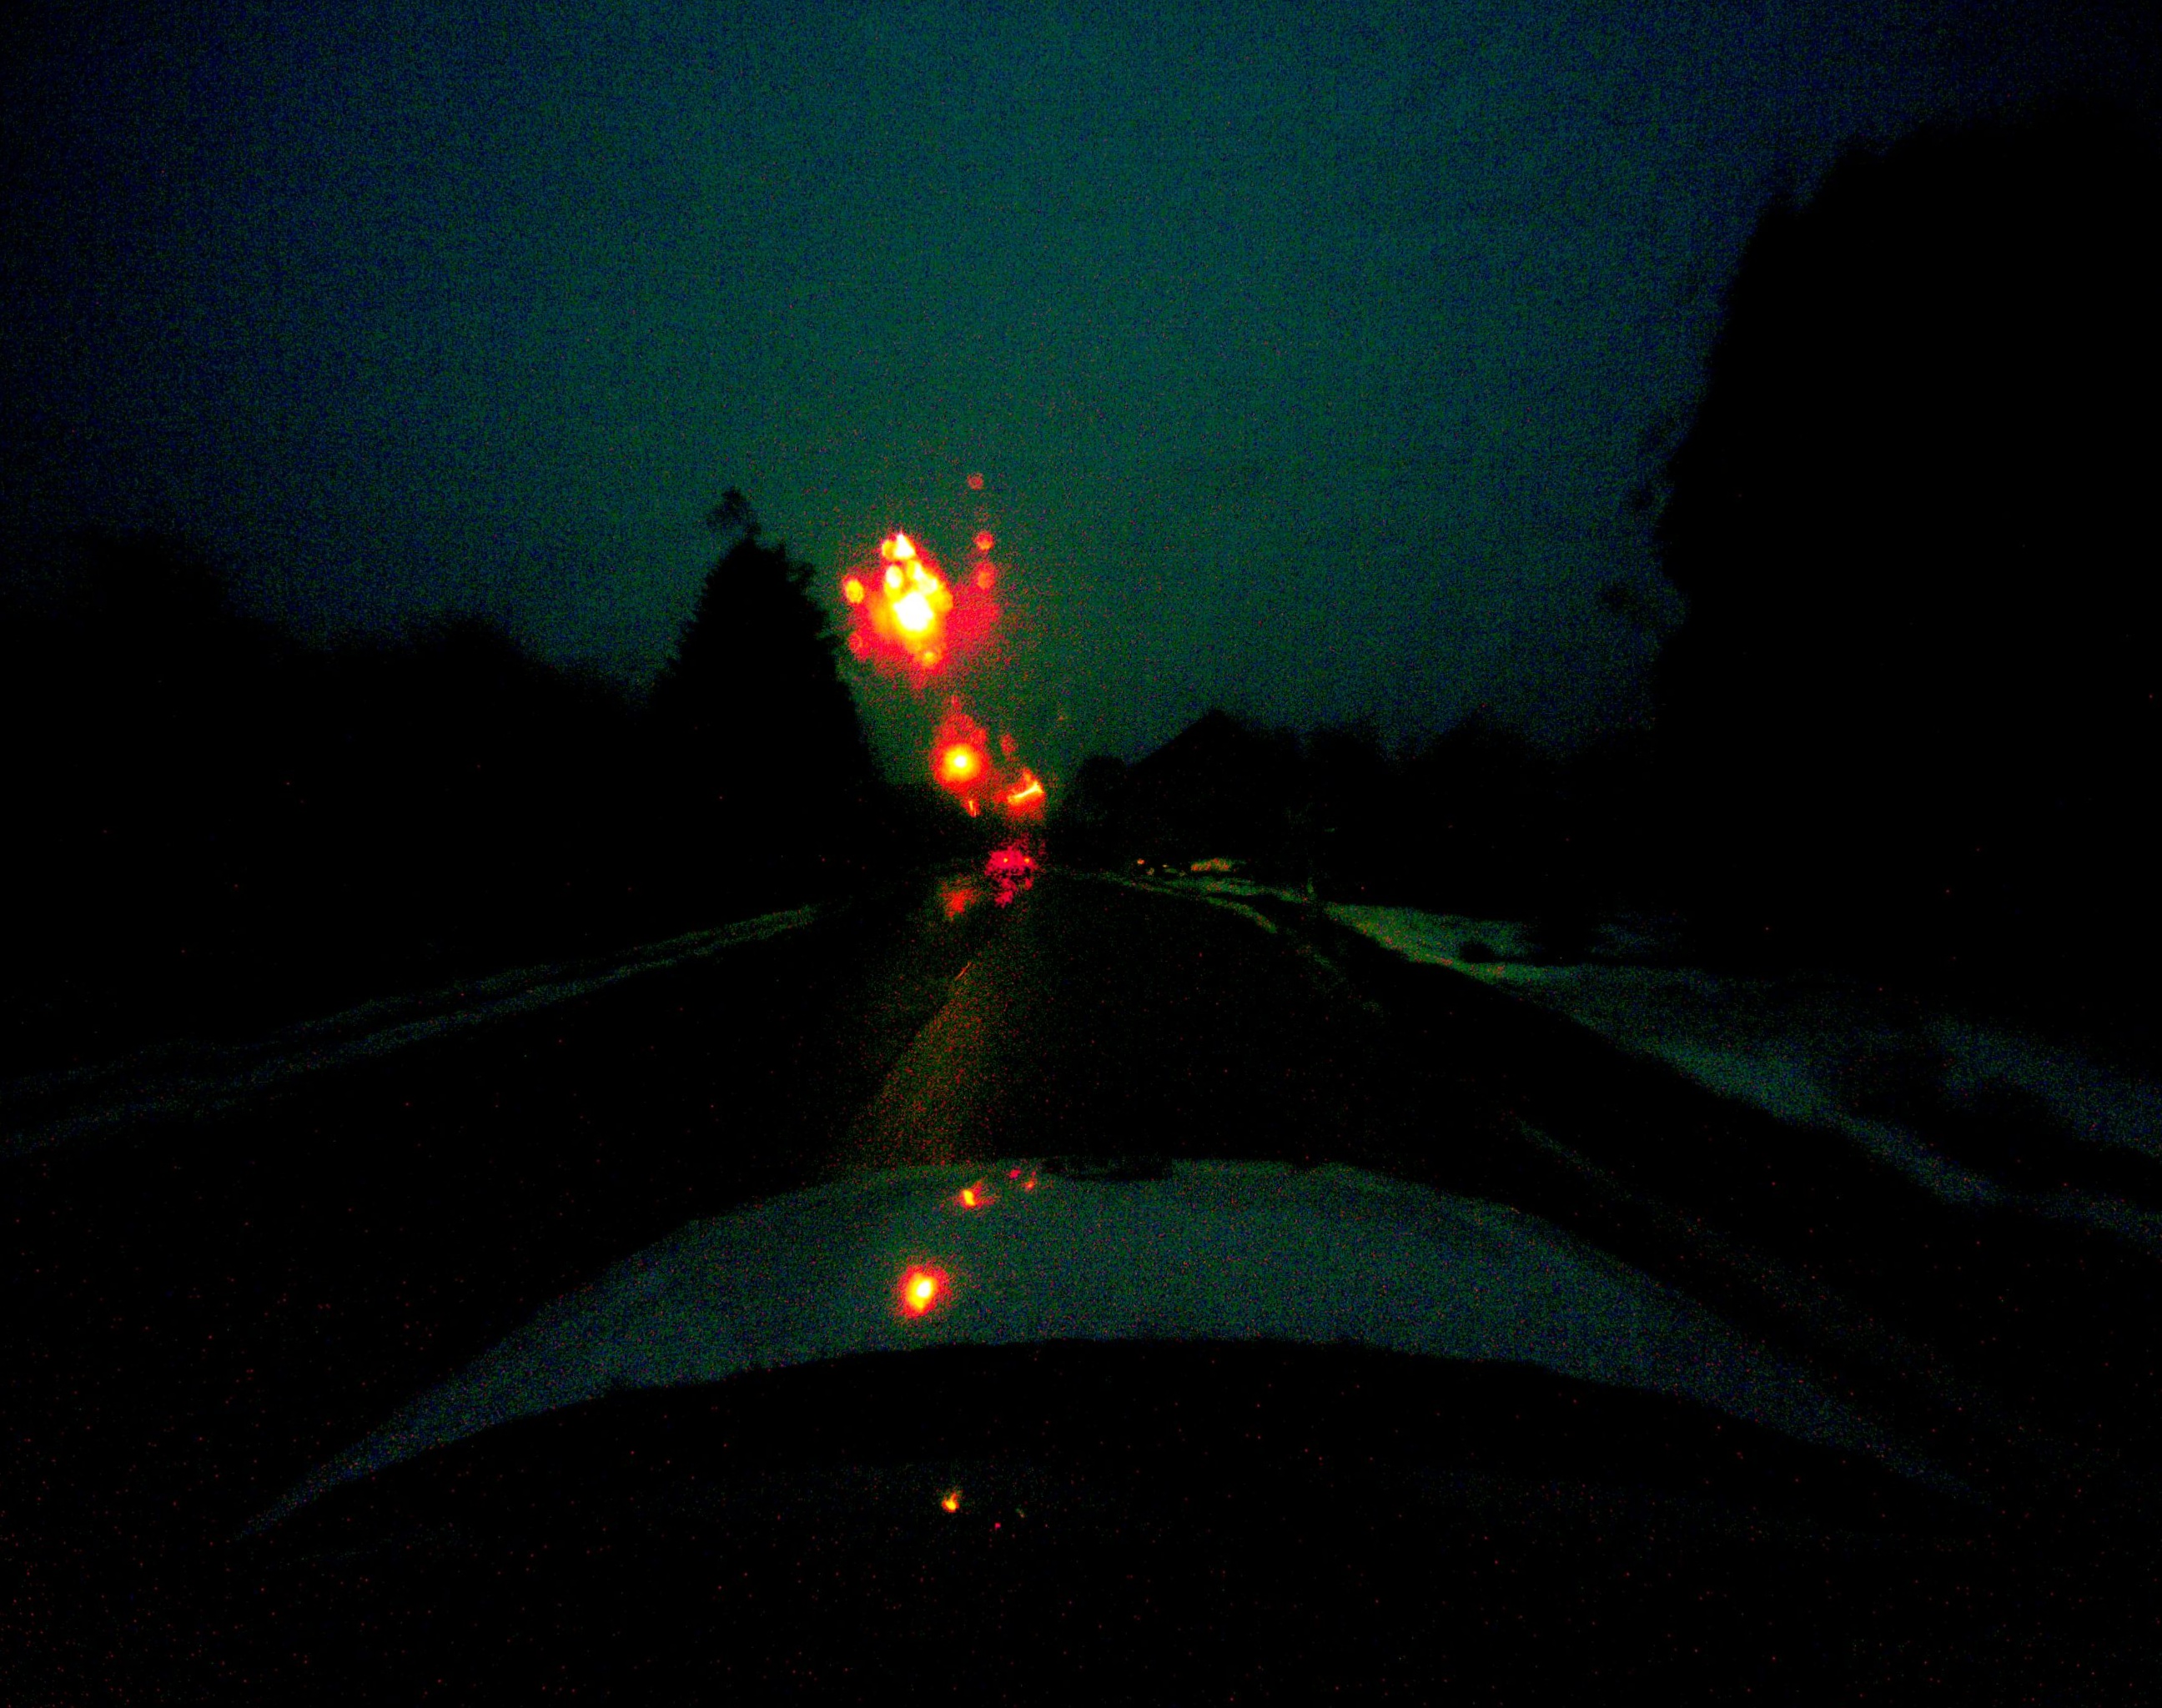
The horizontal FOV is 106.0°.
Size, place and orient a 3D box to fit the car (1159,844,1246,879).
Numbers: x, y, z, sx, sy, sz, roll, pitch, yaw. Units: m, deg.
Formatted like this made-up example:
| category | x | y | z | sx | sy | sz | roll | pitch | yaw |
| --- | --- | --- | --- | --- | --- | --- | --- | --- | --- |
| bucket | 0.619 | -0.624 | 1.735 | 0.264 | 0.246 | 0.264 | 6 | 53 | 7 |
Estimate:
| category | x | y | z | sx | sy | sz | roll | pitch | yaw |
| --- | --- | --- | --- | --- | --- | --- | --- | --- | --- |
| car | 6.110 | 0.402 | 41.199 | 4.220 | 1.559 | 2.003 | -2 | -3 | 7 |

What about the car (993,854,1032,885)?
| category | x | y | z | sx | sy | sz | roll | pitch | yaw |
| --- | --- | --- | --- | --- | --- | --- | --- | --- | --- |
| car | -4.276 | 0.994 | 50.285 | 1.994 | 1.737 | 3.863 | -1 | -3 | -11 |

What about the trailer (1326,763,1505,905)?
| category | x | y | z | sx | sy | sz | roll | pitch | yaw |
| --- | --- | --- | --- | --- | --- | --- | --- | --- | --- |
| trailer | 9.232 | -0.461 | 23.159 | 2.868 | 3.561 | 5.057 | 0 | -1 | -3 |

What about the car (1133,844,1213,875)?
| category | x | y | z | sx | sy | sz | roll | pitch | yaw |
| --- | --- | --- | --- | --- | --- | --- | --- | --- | --- |
| car | 4.944 | 0.310 | 44.270 | 4.142 | 1.559 | 1.946 | -1 | -3 | 1 |

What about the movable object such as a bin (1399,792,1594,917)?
| category | x | y | z | sx | sy | sz | roll | pitch | yaw |
| --- | --- | --- | --- | --- | --- | --- | --- | --- | --- |
| movable object such as a bin | 9.185 | 0.039 | 18.535 | 2.376 | 2.469 | 4.520 | 0 | -1 | 4 |
